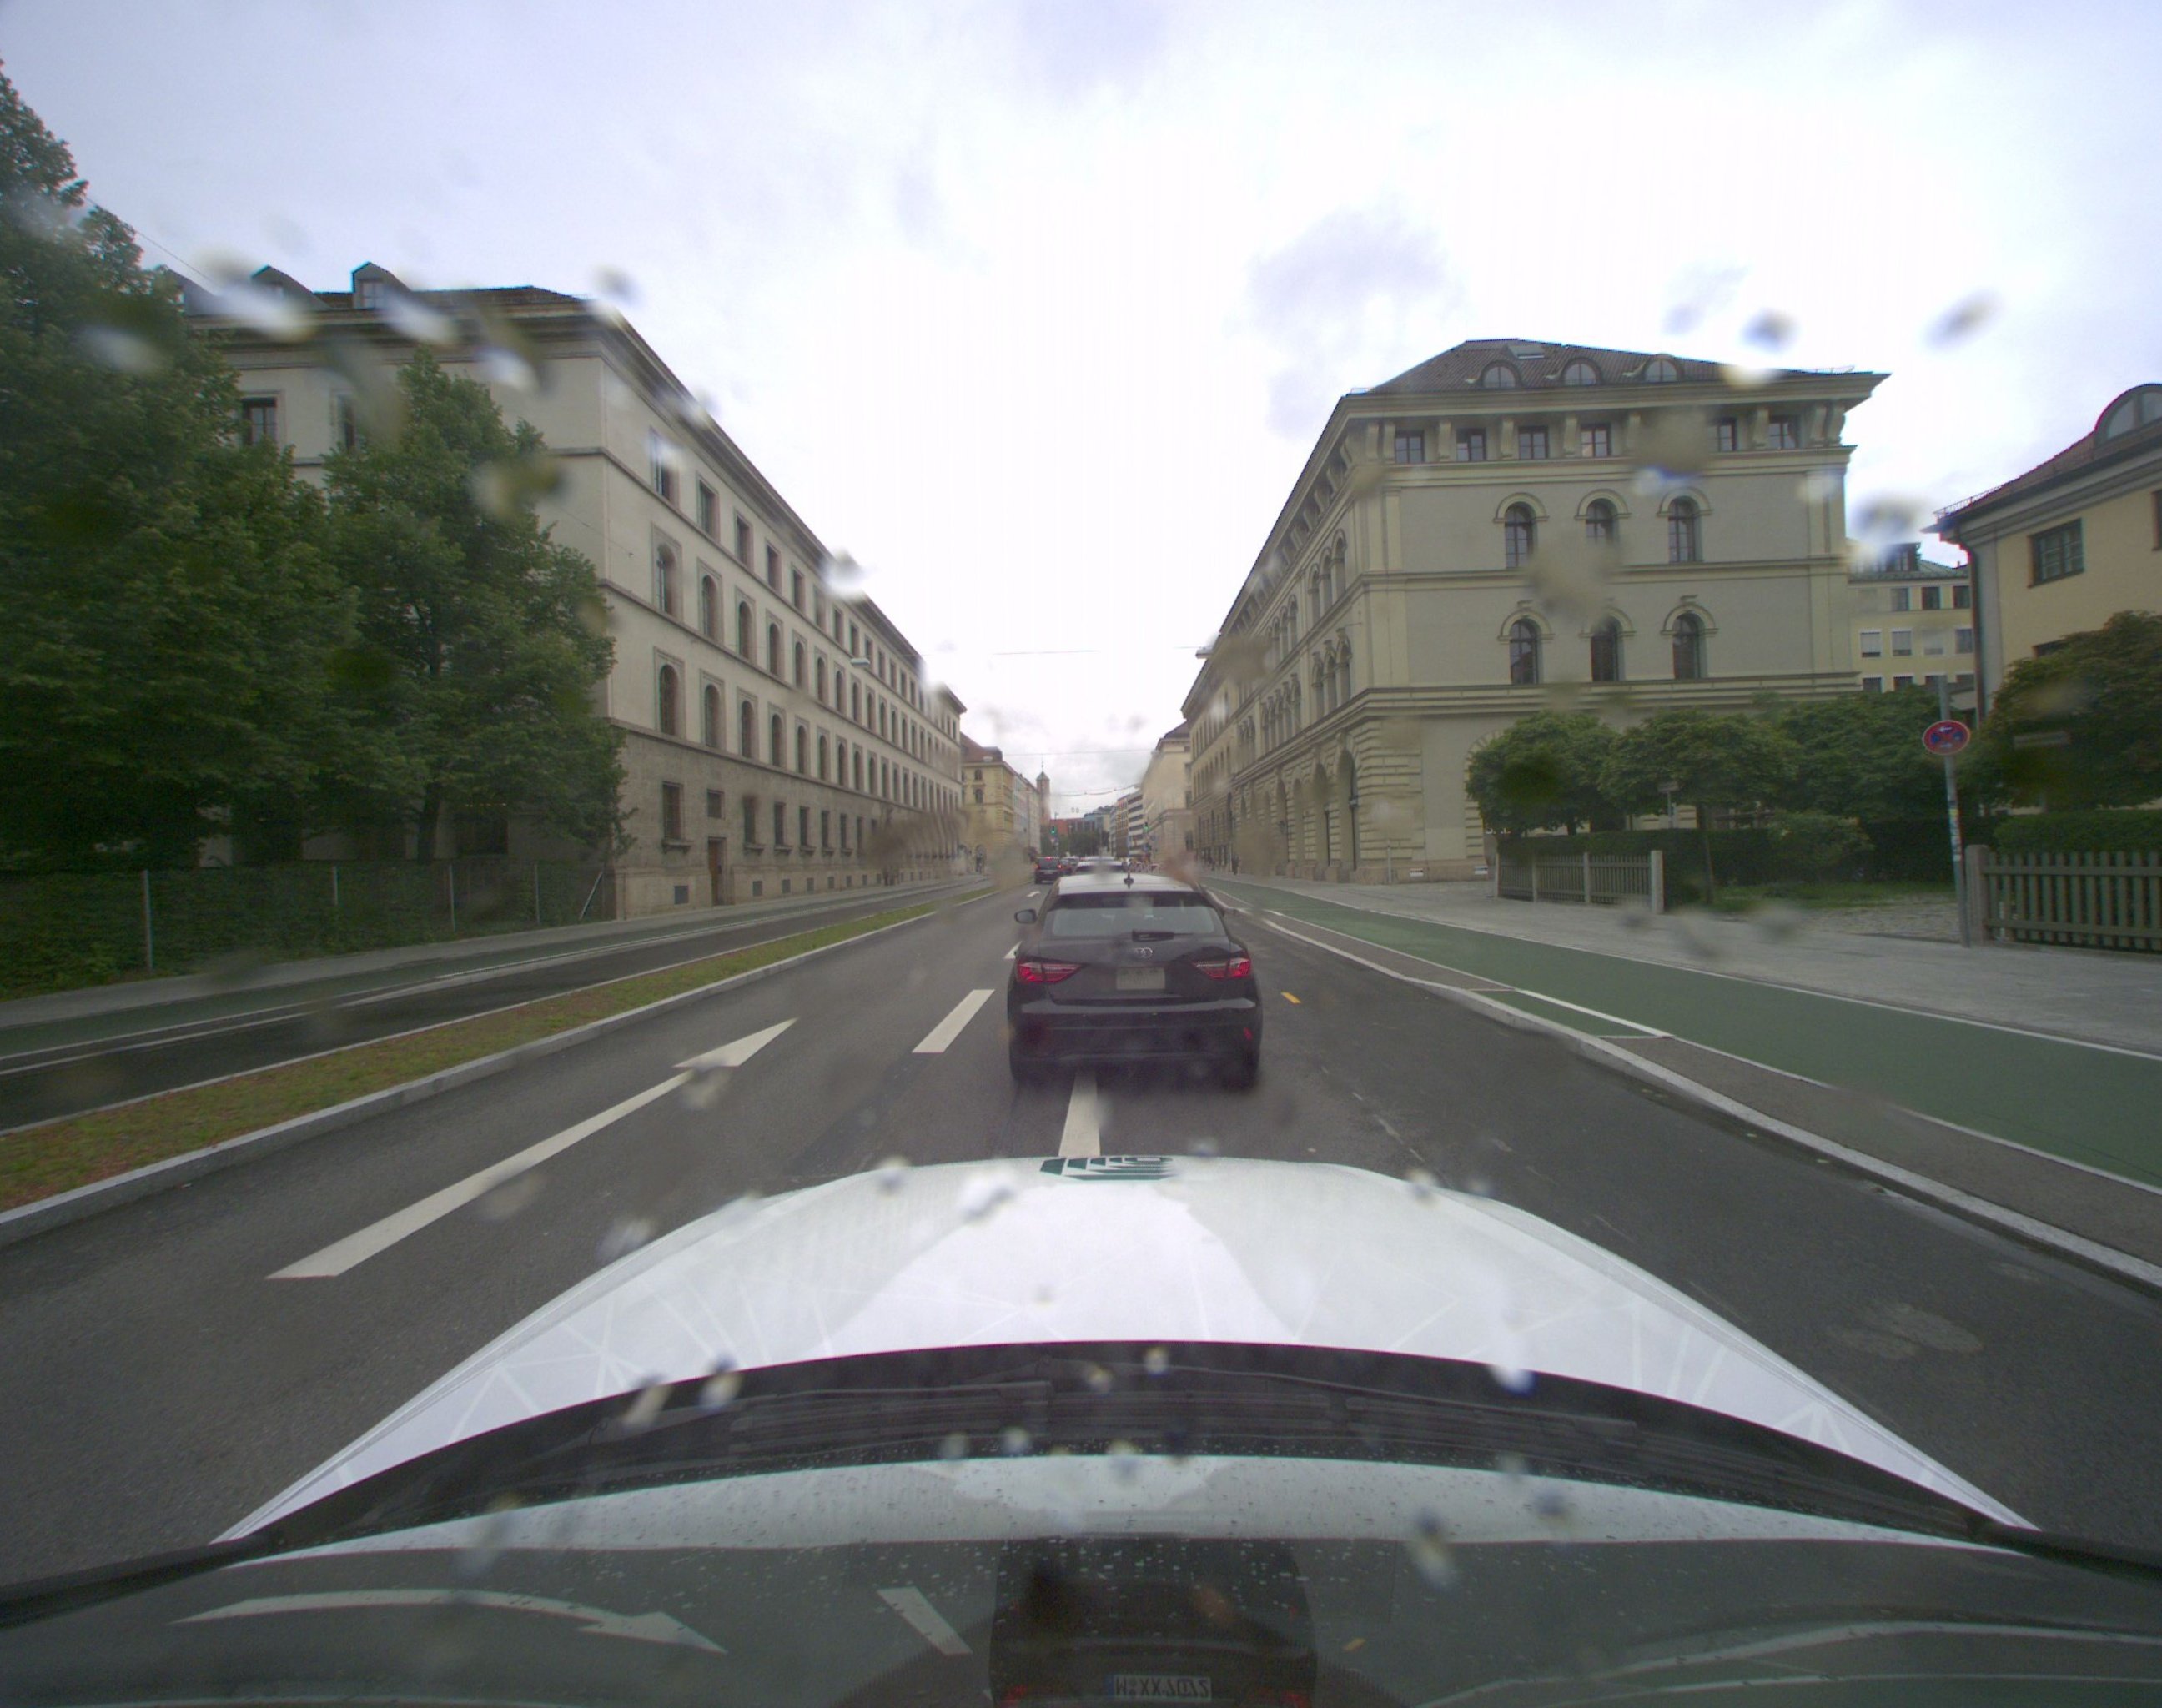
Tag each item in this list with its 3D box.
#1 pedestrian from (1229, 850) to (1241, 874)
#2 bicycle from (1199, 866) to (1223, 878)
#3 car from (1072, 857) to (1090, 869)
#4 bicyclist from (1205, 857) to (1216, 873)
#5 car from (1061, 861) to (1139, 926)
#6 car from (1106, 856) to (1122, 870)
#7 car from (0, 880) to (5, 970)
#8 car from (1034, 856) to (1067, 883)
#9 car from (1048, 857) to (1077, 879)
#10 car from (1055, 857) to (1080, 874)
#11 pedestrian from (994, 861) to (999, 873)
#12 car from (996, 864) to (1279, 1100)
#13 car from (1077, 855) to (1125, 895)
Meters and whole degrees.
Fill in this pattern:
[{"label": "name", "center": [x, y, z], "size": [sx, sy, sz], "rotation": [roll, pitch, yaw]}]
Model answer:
[{"label": "pedestrian", "center": [10.911, 0.564, 57.633], "size": [0.707, 1.618, 0.754], "rotation": [-2, -1, 1]}, {"label": "bicycle", "center": [12.466, 1.742, 78.123], "size": [2.143, 1.156, 0.735], "rotation": [-2, -1, 36]}, {"label": "car", "center": [-0.034, 1.086, 98.050], "size": [1.986, 1.444, 4.002], "rotation": [-2, 0, 2]}, {"label": "bicyclist", "center": [12.433, 1.062, 78.143], "size": [0.744, 1.500, 0.717], "rotation": [-2, -1, 35]}, {"label": "car", "center": [0.469, 0.879, 19.995], "size": [1.724, 1.403, 4.001], "rotation": [0, 0, 1]}, {"label": "car", "center": [4.171, 1.135, 102.106], "size": [1.942, 1.662, 4.001], "rotation": [0, -1, 2]}, {"label": "car", "center": [-21.903, 1.372, 14.060], "size": [4.247, 1.649, 1.805], "rotation": [-2, 0, 1]}, {"label": "car", "center": [-1.832, 0.916, 50.068], "size": [1.758, 1.616, 4.031], "rotation": [-1, 0, 1]}, {"label": "car", "center": [-1.389, 1.064, 63.504], "size": [1.986, 1.627, 4.002], "rotation": [-2, 0, 2]}, {"label": "car", "center": [-1.204, 1.021, 74.233], "size": [1.986, 1.444, 4.002], "rotation": [-2, 0, 2]}, {"label": "pedestrian", "center": [-12.906, 2.020, 124.302], "size": [0.653, 1.805, 0.727], "rotation": [-2, -1, 1]}, {"label": "car", "center": [0.399, 0.809, 6.992], "size": [1.724, 1.403, 4.001], "rotation": [0, 0, 1]}, {"label": "car", "center": [0.772, 0.768, 31.626], "size": [1.724, 1.461, 4.001], "rotation": [0, 0, 1]}]
